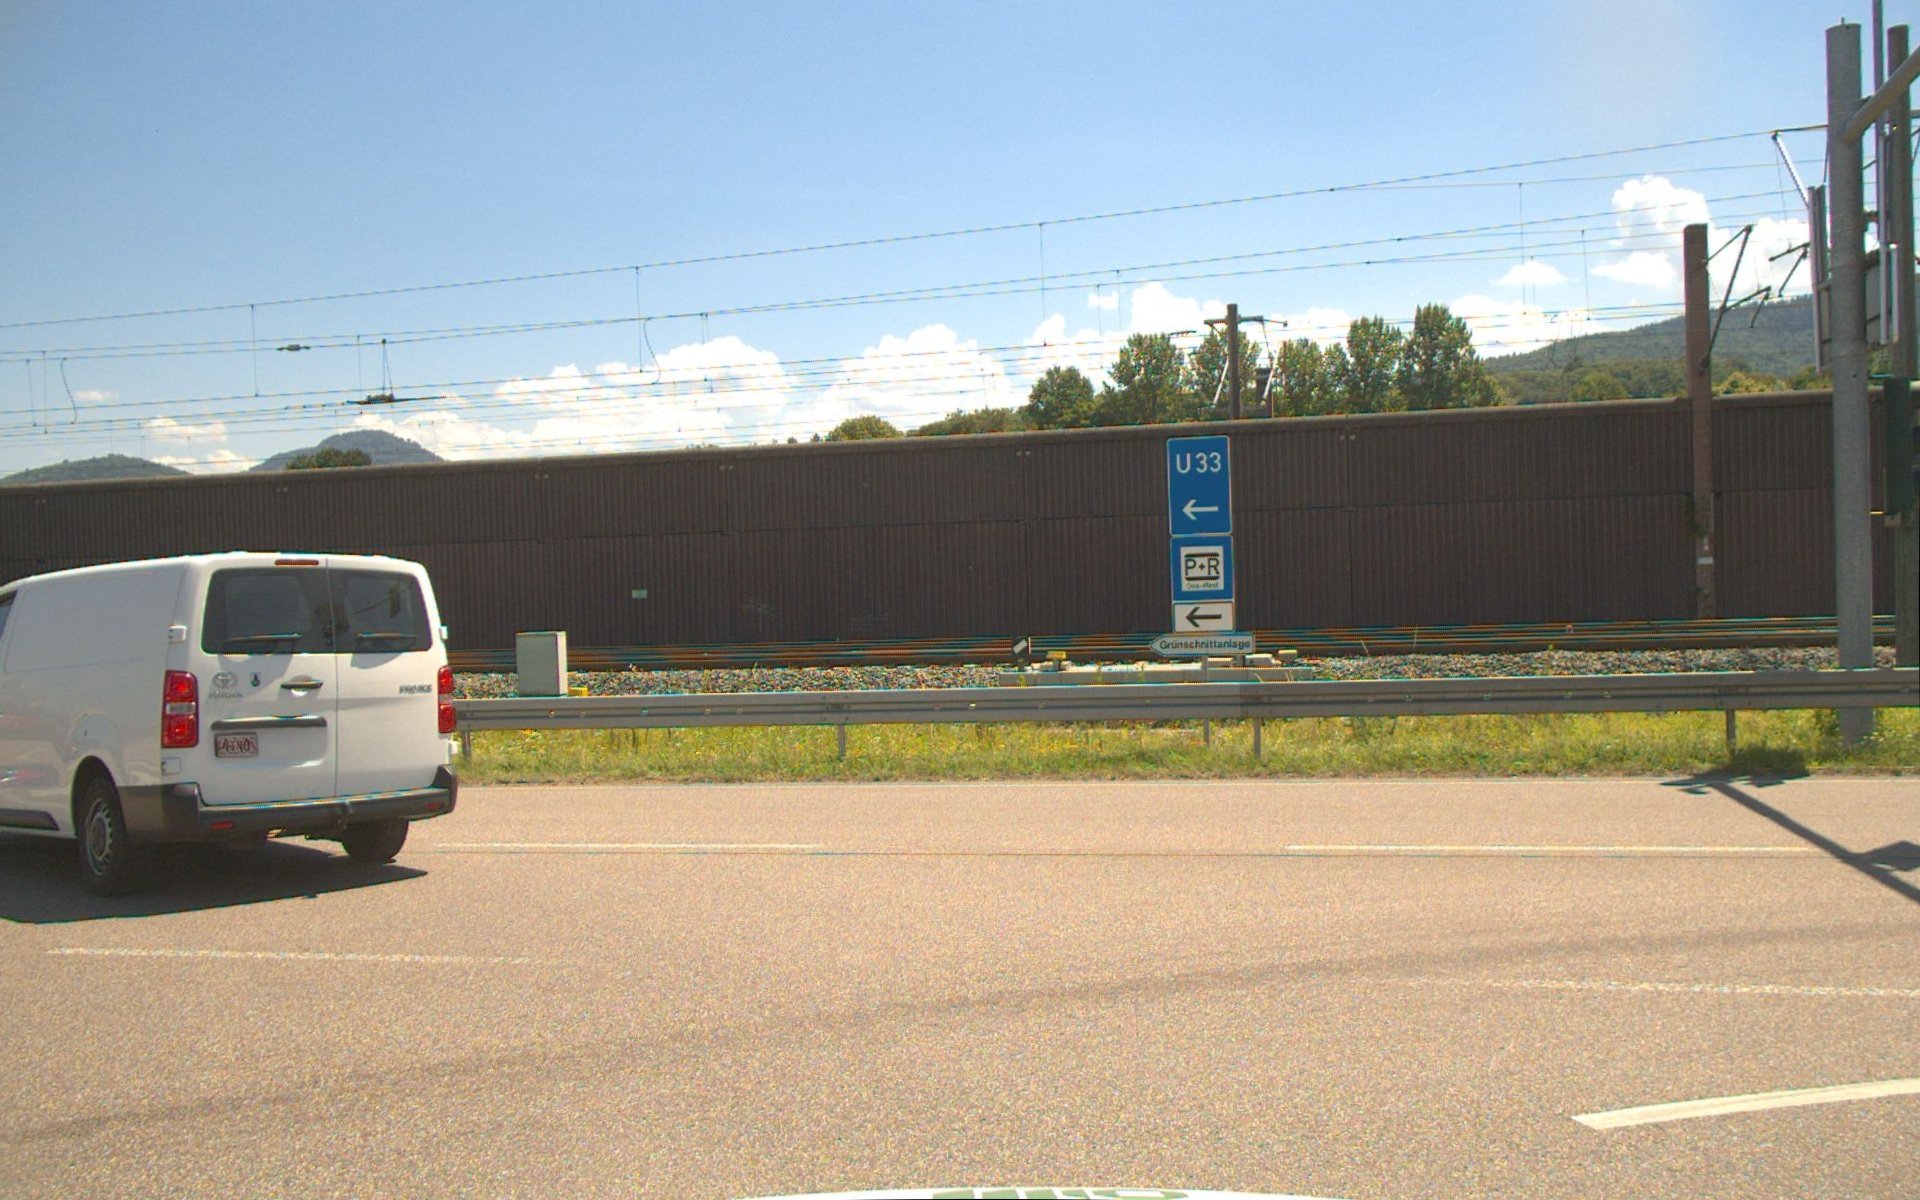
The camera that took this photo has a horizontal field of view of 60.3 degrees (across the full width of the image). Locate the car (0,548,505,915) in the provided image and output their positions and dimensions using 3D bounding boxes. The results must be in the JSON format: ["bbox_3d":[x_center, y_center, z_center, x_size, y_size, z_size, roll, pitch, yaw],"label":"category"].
[{"bbox_3d":[-5.173,0.753,10.991,4.796,1.914,1.939,-3,-1,43],"label":"car"}]
